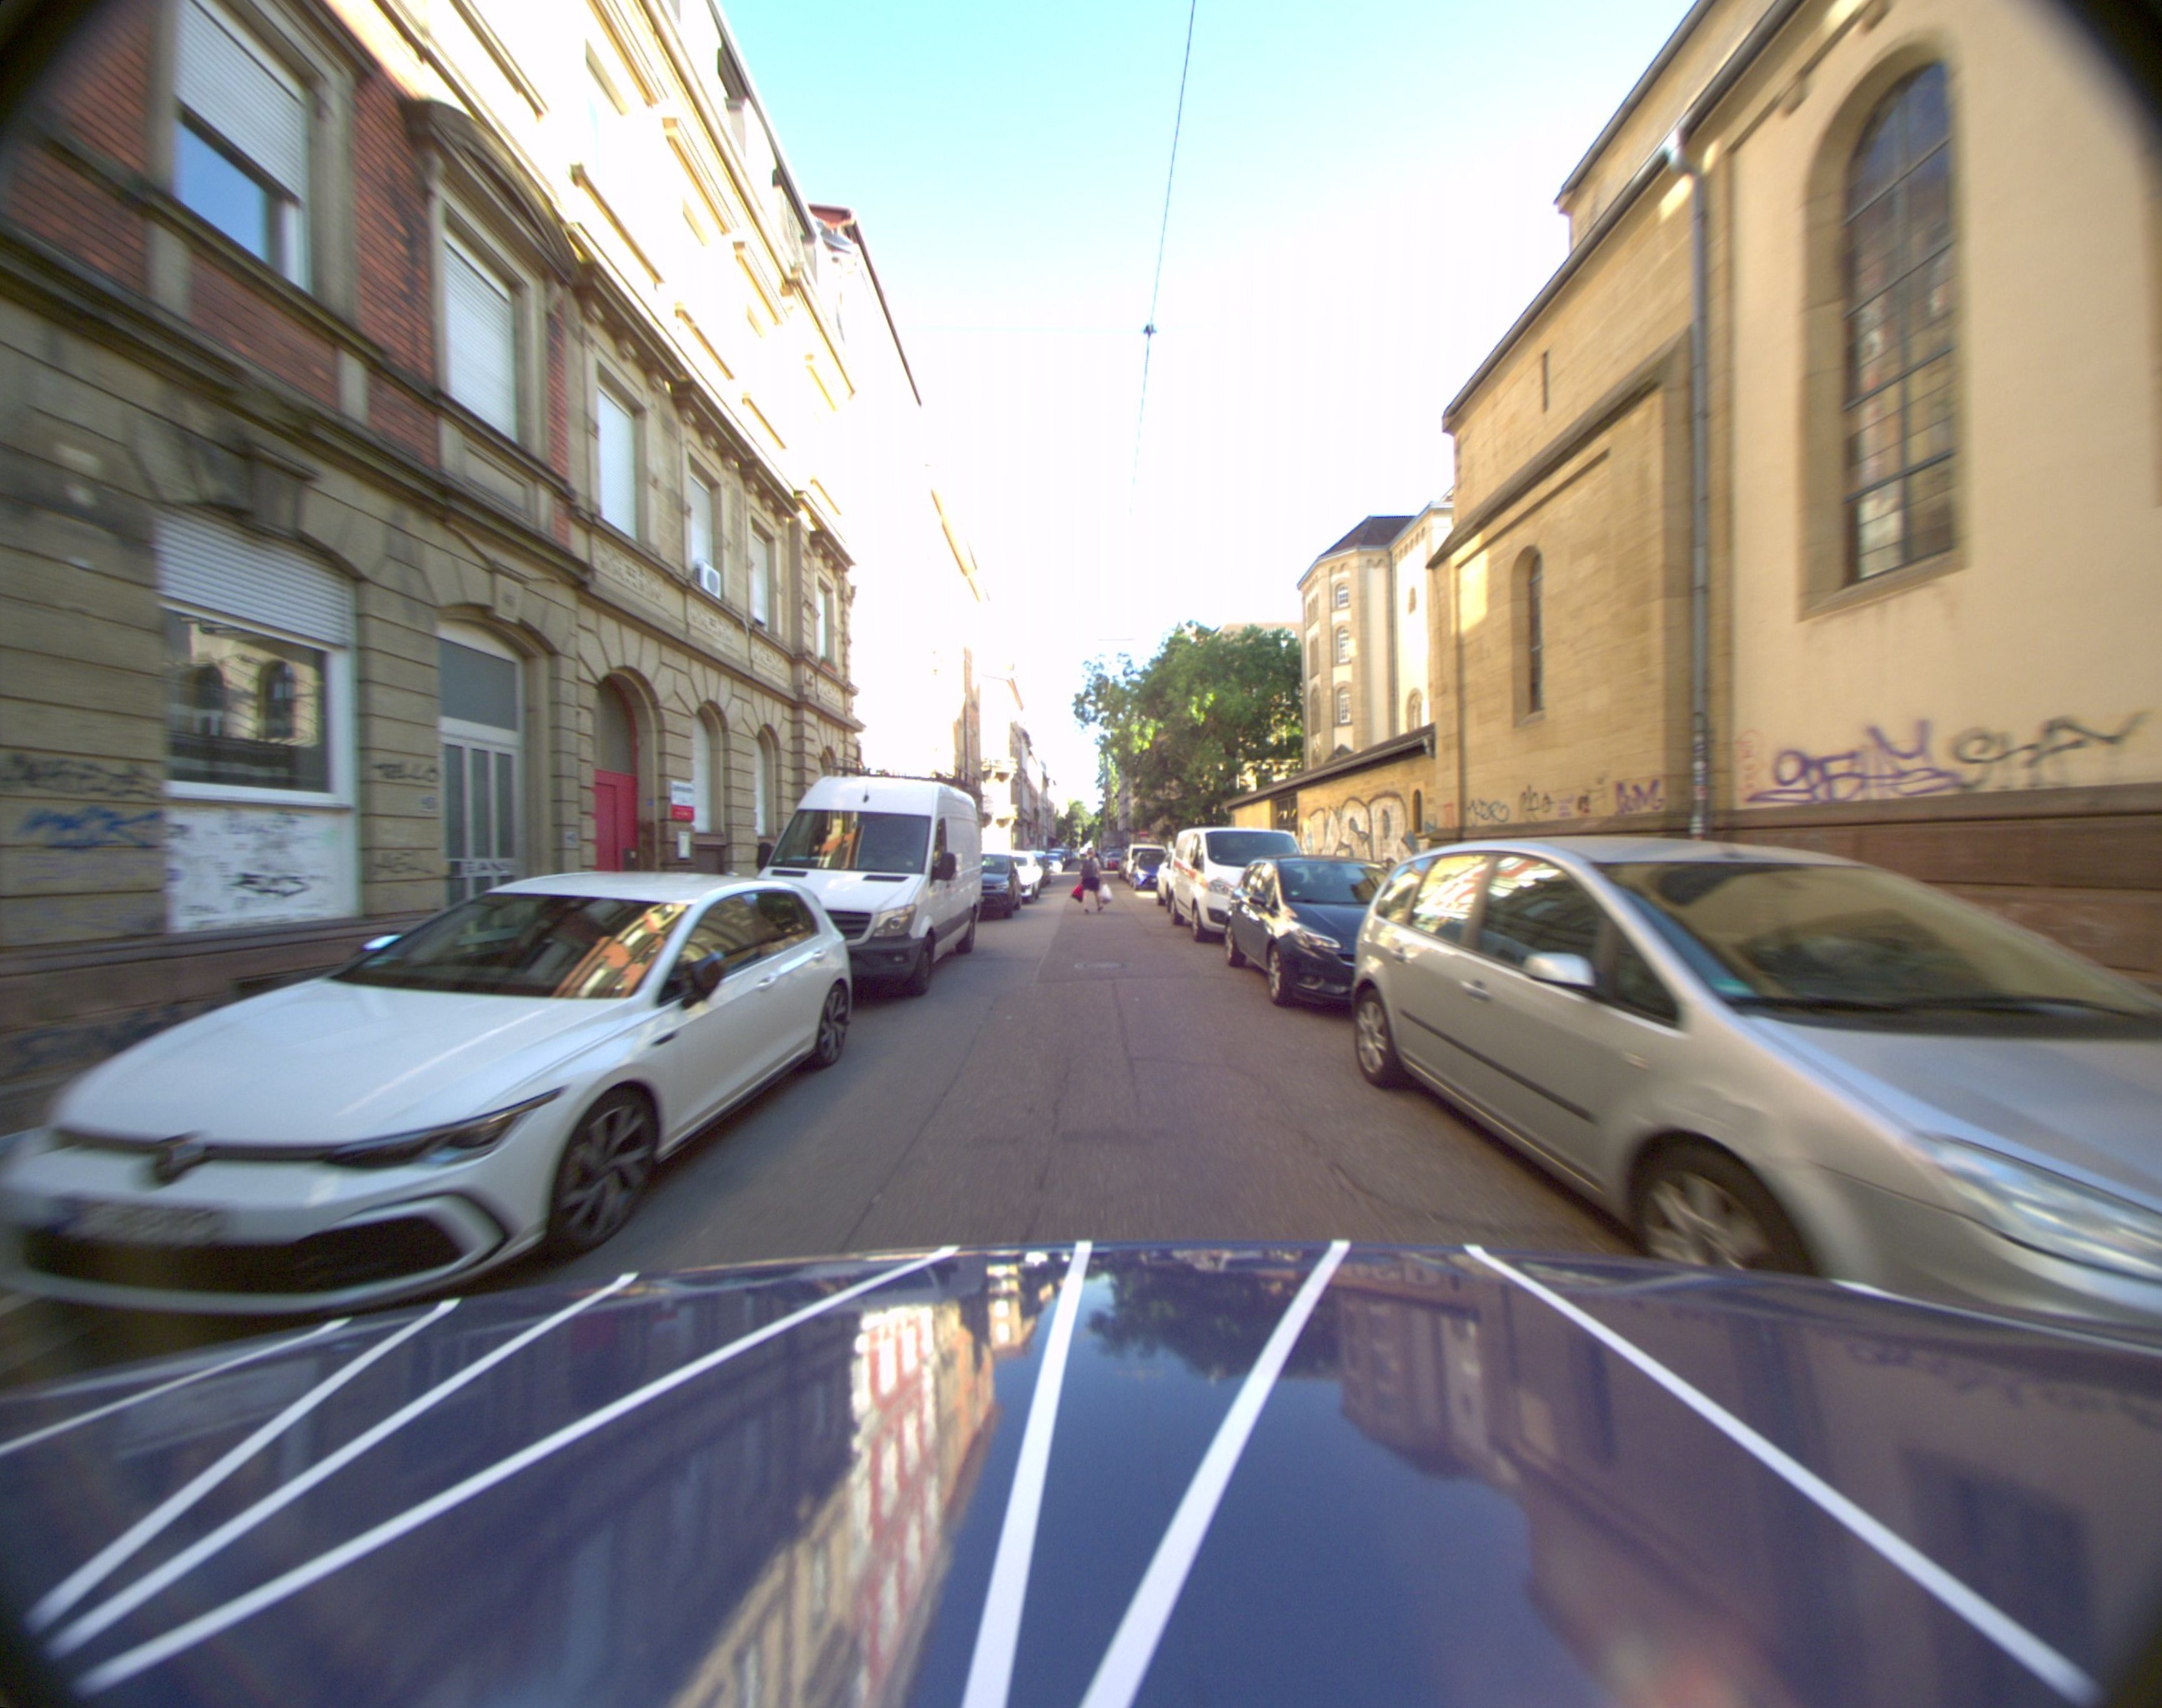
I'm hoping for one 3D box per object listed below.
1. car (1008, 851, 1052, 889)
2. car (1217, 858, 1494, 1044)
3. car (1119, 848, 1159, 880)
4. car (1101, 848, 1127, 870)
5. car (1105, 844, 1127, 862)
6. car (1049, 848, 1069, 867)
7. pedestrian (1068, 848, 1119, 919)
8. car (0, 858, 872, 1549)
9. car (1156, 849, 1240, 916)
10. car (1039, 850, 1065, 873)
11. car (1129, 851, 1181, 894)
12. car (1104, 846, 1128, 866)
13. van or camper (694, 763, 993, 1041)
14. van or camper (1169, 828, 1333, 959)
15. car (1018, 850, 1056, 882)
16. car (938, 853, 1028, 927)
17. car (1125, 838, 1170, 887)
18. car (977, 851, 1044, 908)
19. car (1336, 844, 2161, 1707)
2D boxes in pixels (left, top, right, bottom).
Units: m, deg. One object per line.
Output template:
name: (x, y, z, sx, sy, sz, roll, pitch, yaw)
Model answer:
car: (-2.334, 0.718, 35.606, 1.696, 1.615, 3.963, -2, 1, 1)
car: (2.660, 0.836, 8.309, 1.696, 1.472, 3.736, -2, 1, 1)
car: (3.079, 0.485, 41.238, 1.777, 1.614, 4.022, -2, 1, -1)
car: (2.597, 0.394, 59.742, 1.777, 1.614, 4.022, -2, 1, -1)
car: (3.221, -0.104, 70.530, 1.777, 1.614, 4.022, -2, 1, -1)
car: (-2.104, 0.280, 72.475, 1.696, 1.705, 3.963, -2, 1, 1)
pedestrian: (0.321, 0.729, 18.942, 0.827, 1.703, 0.876, -3, 1, 31)
car: (-2.855, 0.943, 4.229, 1.998, 1.637, 4.563, -2, 1, 1)
car: (2.997, 0.676, 20.040, 1.653, 1.557, 3.640, -2, 1, 1)
car: (-2.179, 0.552, 58.029, 1.696, 1.615, 3.963, -2, 1, 1)
car: (2.896, 0.672, 30.351, 1.696, 1.529, 3.813, -2, 1, 1)
car: (2.903, 0.172, 64.392, 1.777, 1.614, 4.022, -2, 1, -1)
van or camper: (-2.634, 0.412, 10.336, 1.998, 2.617, 5.978, -2, 1, 1)
van or camper: (2.848, 0.580, 13.826, 1.984, 1.940, 4.562, -2, 1, 1)
car: (-2.328, 0.606, 40.870, 1.696, 1.615, 3.963, -2, 1, 1)
car: (-2.368, 0.824, 19.309, 1.696, 1.615, 3.813, -2, 1, 1)
car: (3.058, 0.340, 35.745, 1.777, 2.128, 4.022, -2, 1, 1)
car: (-2.214, 0.758, 24.719, 1.696, 1.615, 3.963, -2, 1, 1)
car: (2.610, 0.784, 3.280, 1.724, 1.558, 3.999, -2, 1, 1)
